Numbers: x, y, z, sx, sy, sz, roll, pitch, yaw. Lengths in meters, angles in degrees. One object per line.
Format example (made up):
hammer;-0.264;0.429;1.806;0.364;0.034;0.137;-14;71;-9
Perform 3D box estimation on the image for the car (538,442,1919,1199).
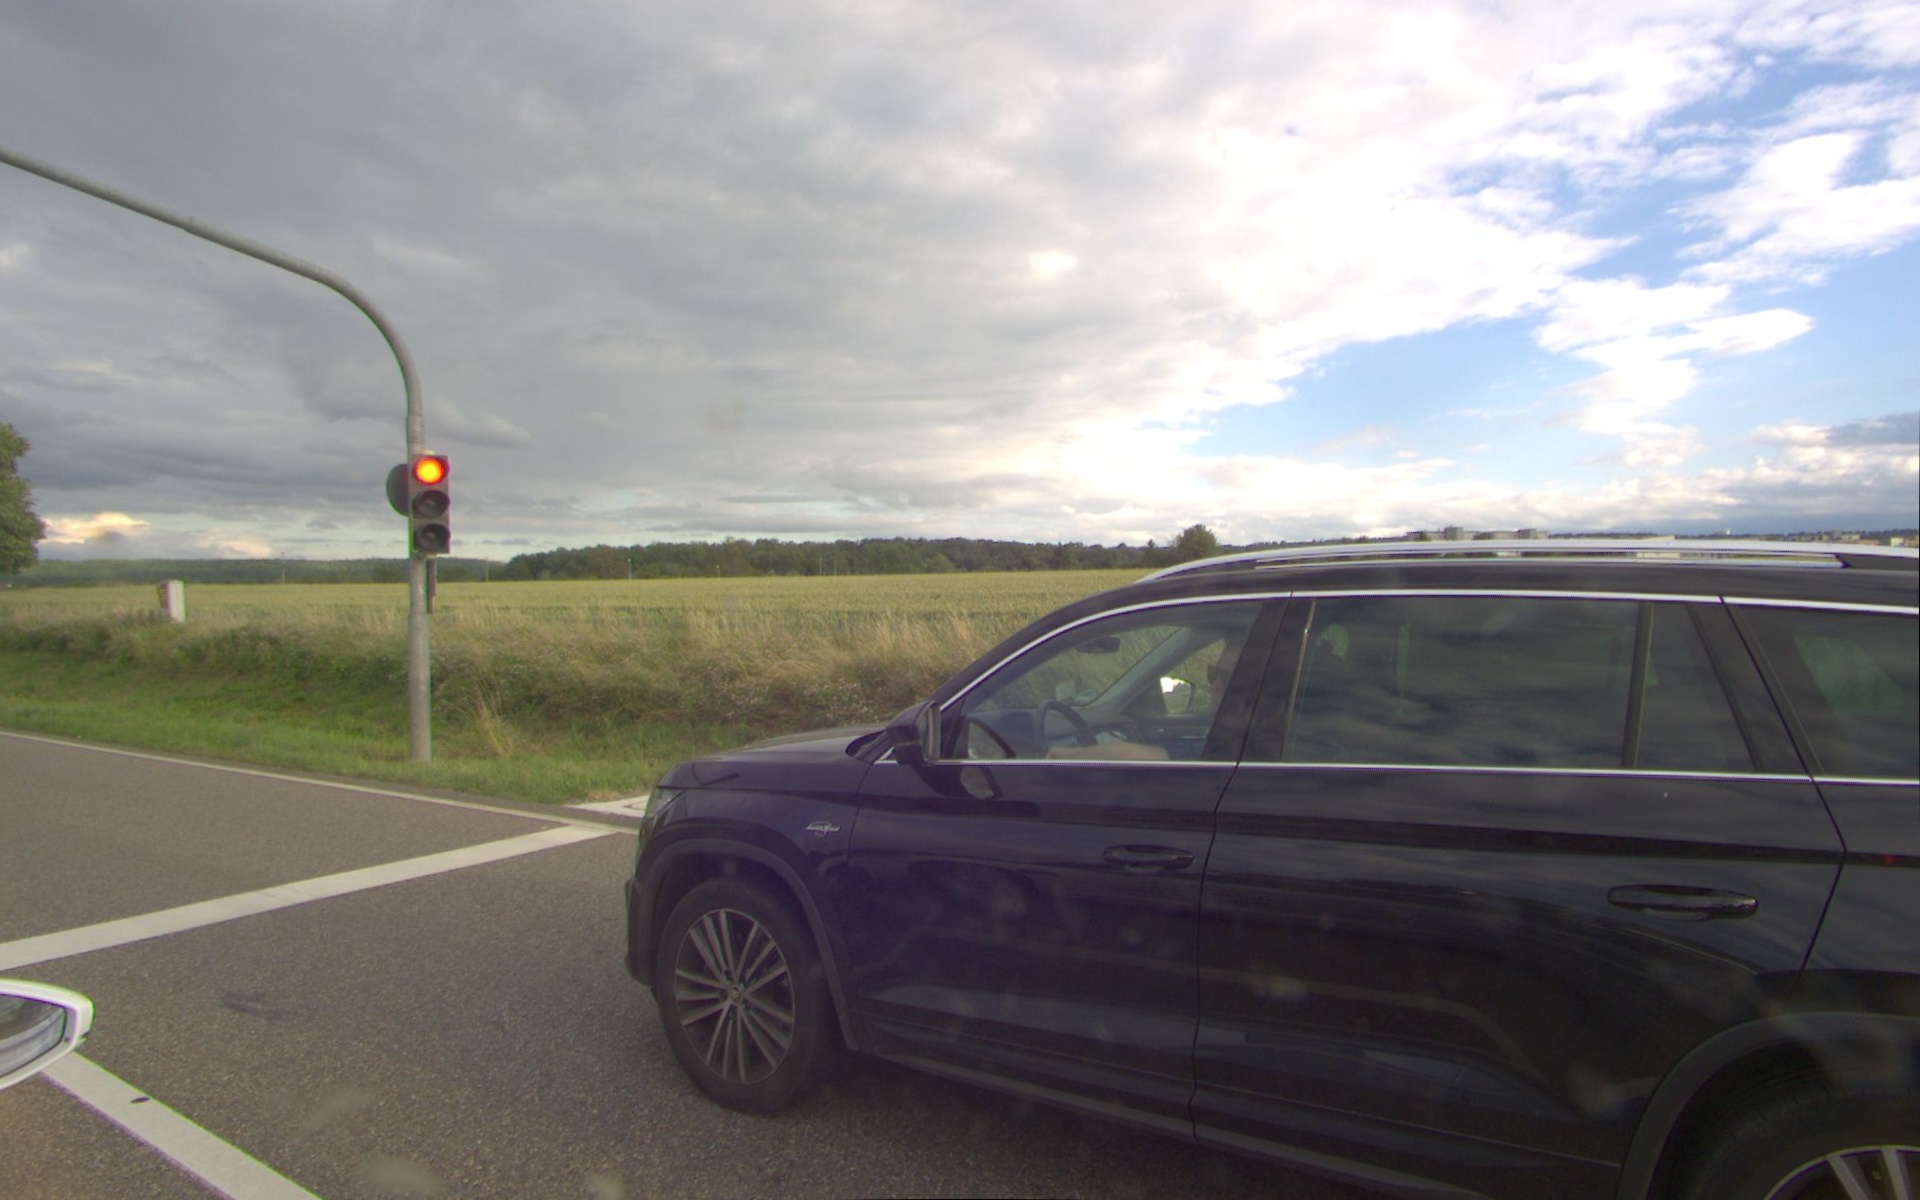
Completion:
car;0.898;0.672;3.081;4.492;1.730;1.833;-1;-2;32
